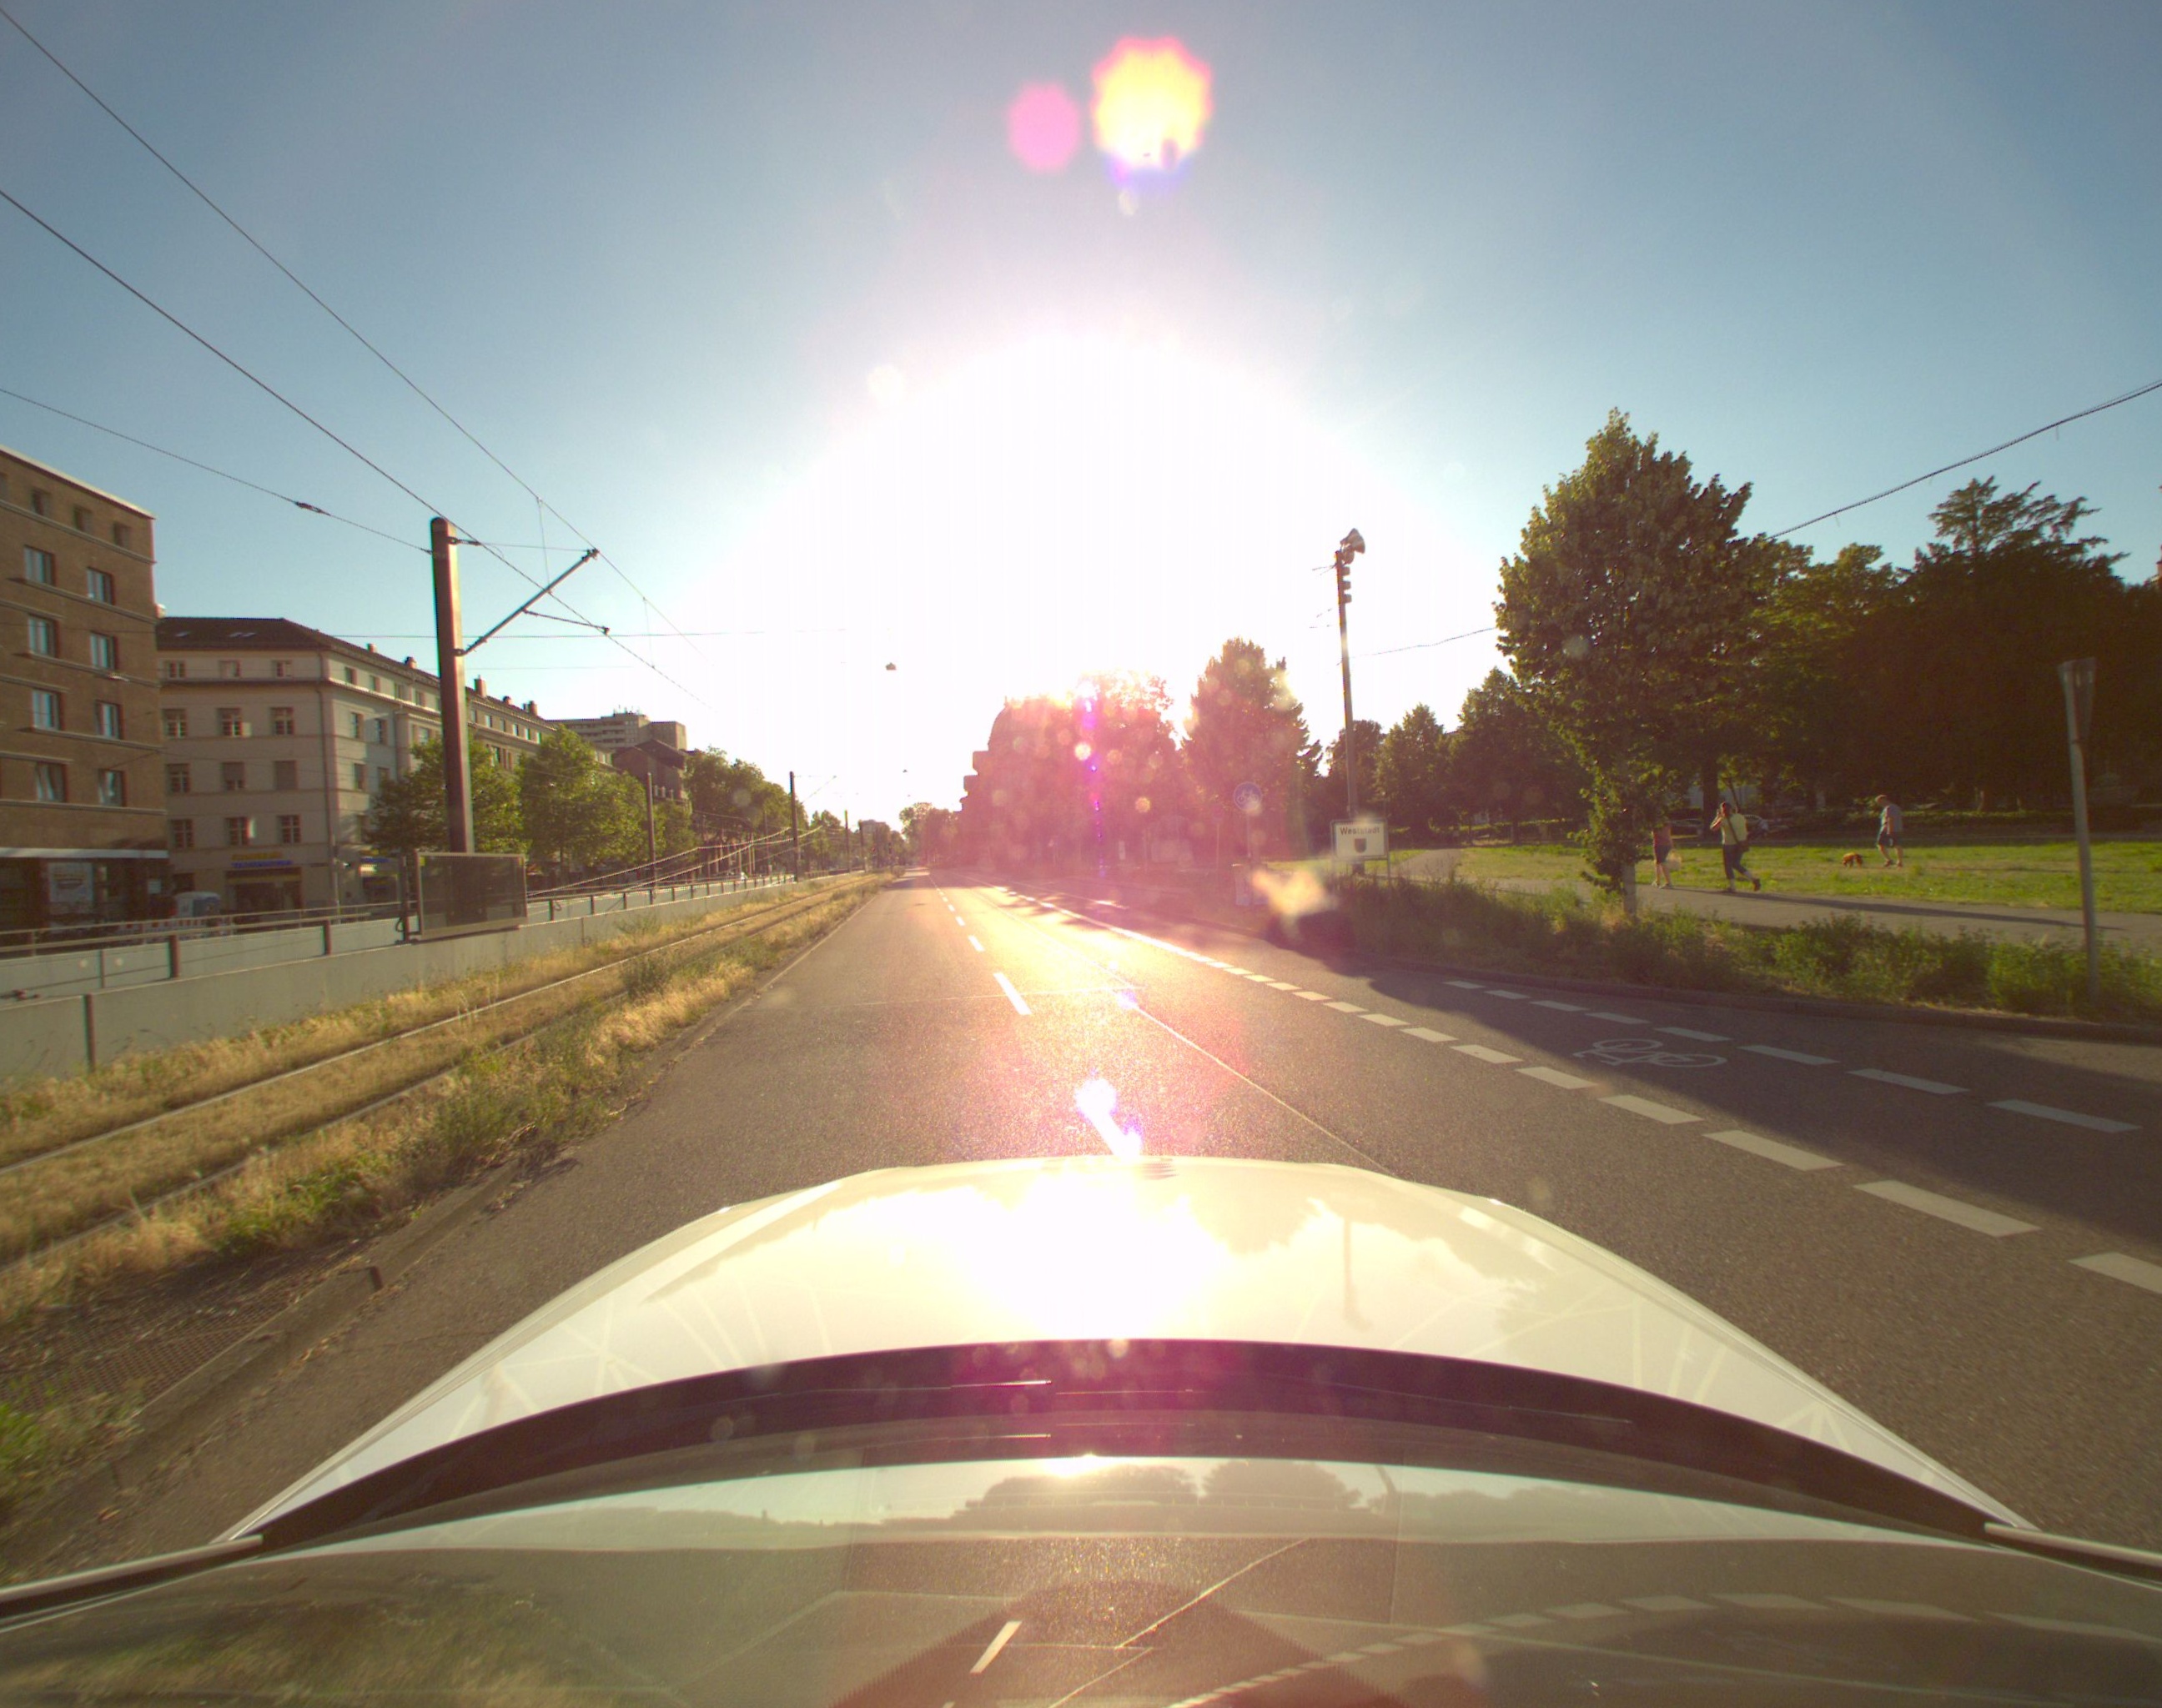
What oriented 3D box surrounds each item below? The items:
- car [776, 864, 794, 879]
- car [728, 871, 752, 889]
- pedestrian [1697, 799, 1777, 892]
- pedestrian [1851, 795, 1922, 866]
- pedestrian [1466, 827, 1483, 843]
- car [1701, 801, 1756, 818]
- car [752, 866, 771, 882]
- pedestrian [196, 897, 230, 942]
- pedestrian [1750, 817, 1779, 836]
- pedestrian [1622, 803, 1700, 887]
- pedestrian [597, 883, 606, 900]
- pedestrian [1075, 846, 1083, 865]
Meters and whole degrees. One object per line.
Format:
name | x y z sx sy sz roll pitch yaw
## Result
car | -42.180 2.468 116.146 1.998 2.013 3.978 -3 0 -16
car | -40.680 3.054 97.219 1.998 2.013 3.978 -3 0 -16
pedestrian | 12.510 -0.171 15.551 0.707 1.696 0.893 -3 1 -8
pedestrian | 20.008 -0.583 20.250 0.835 1.696 1.022 -3 1 18
pedestrian | 31.702 -1.512 65.608 0.811 1.187 0.842 -3 0 -11
car | 73.065 -5.033 91.974 2.001 1.571 4.433 -3 0 -21
car | -50.764 3.143 129.274 1.995 2.244 3.984 -3 0 -11
pedestrian | -40.102 3.010 37.634 0.718 2.013 0.725 -3 0 -13
pedestrian | 35.737 -1.438 42.596 1.178 0.953 0.796 -4 1 -31
pedestrian | 12.254 -0.196 17.242 0.841 1.696 1.015 -3 1 -6
pedestrian | -49.917 3.878 84.784 0.490 1.708 0.548 -3 0 -11
pedestrian | -0.190 0.156 84.071 0.683 1.822 0.534 -3 0 -6
